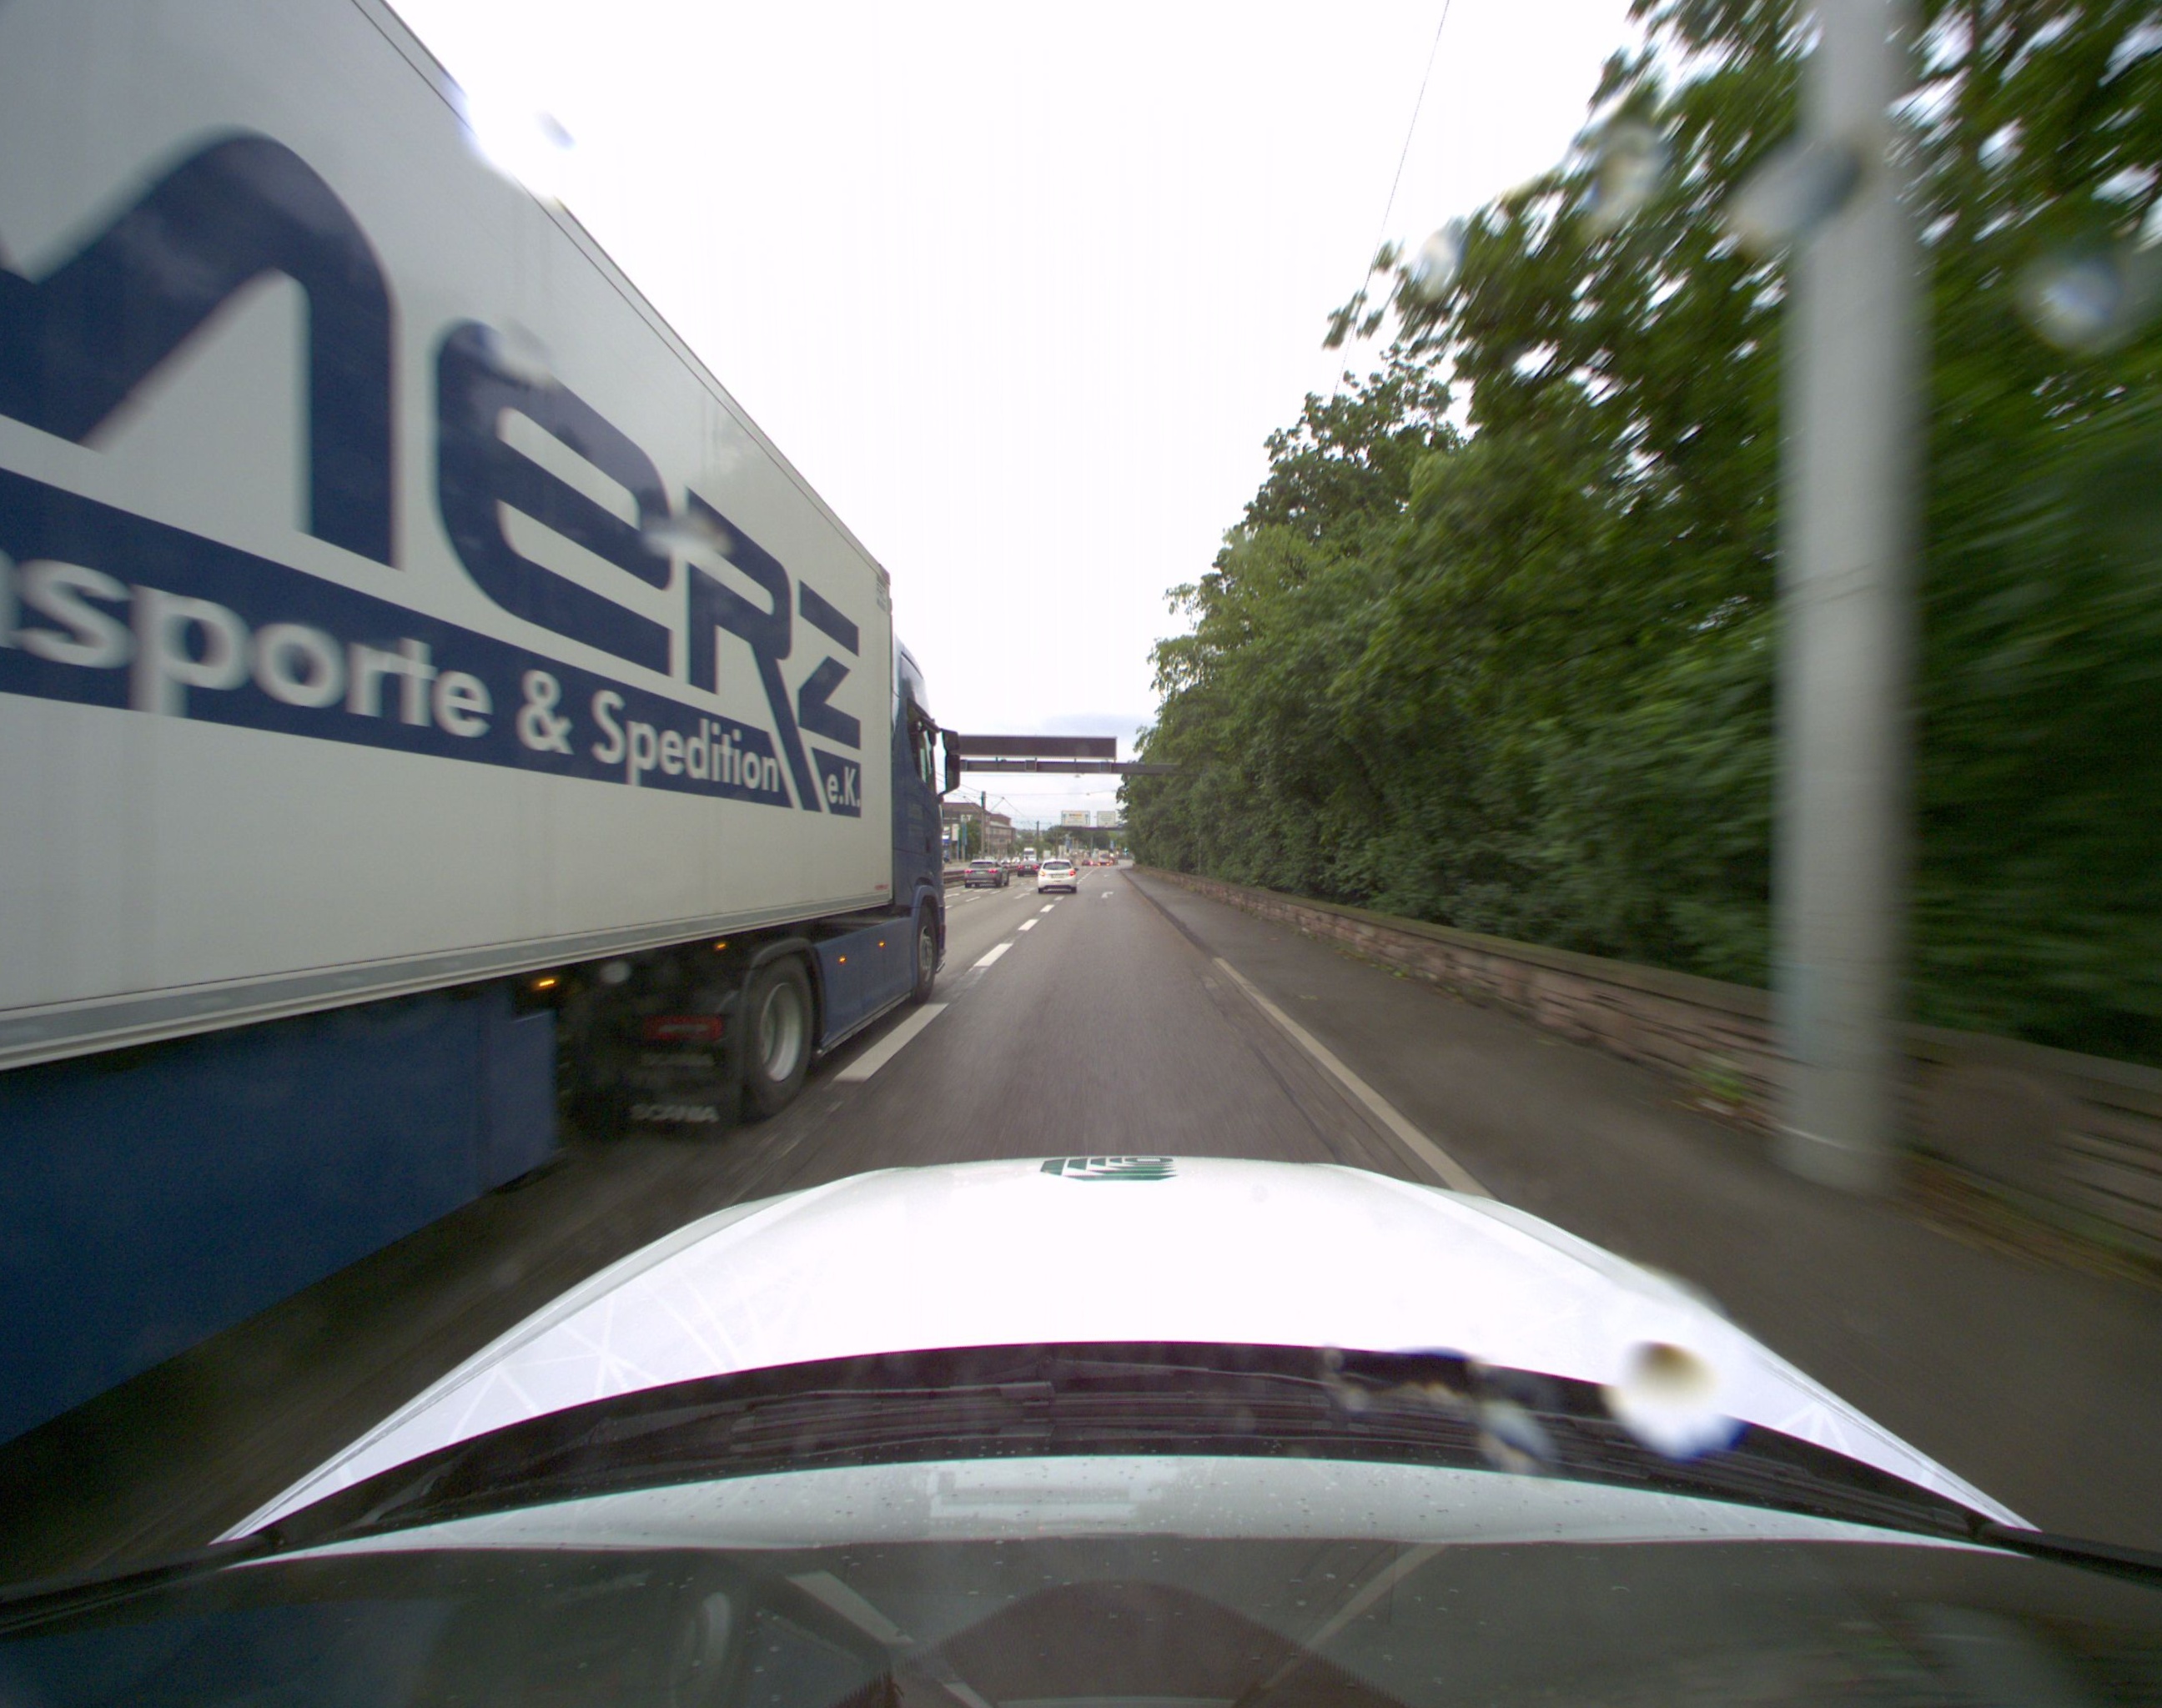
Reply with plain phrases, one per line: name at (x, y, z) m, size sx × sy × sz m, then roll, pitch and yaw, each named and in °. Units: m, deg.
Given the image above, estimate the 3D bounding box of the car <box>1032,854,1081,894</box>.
car at (-1.037, 0.854, 36.531) m, size 1.949 × 1.487 × 4.001 m, roll 2°, pitch 2°, yaw 0°

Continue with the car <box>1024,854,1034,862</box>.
car at (-13.959, 1.040, 218.876) m, size 1.986 × 2.014 × 4.000 m, roll 2°, pitch -3°, yaw 2°

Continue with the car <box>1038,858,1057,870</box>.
car at (-4.465, 1.296, 108.783) m, size 1.983 × 1.576 × 4.007 m, roll -1°, pitch -1°, yaw 6°

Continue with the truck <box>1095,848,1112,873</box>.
truck at (5.594, 1.608, 200.299) m, size 3.449 × 5.402 × 12.061 m, roll 2°, pitch -3°, yaw 4°

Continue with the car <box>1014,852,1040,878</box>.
car at (-4.370, 0.891, 66.626) m, size 1.714 × 1.891 × 3.539 m, roll 1°, pitch 3°, yaw 3°

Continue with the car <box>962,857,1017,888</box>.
car at (-4.791, 0.955, 43.258) m, size 1.809 × 1.565 × 4.103 m, roll -1°, pitch -1°, yaw 10°

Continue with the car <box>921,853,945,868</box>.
car at (-17.756, 0.789, 97.978) m, size 1.986 × 1.662 × 4.001 m, roll 2°, pitch -1°, yaw 2°

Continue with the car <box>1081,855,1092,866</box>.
car at (1.174, 1.389, 169.877) m, size 1.986 × 2.014 × 4.000 m, roll 2°, pitch -3°, yaw 2°

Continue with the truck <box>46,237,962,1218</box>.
truck at (-2.988, -0.542, 6.891) m, size 2.752 × 4.197 × 6.786 m, roll 0°, pitch 0°, yaw 2°

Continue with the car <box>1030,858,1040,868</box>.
car at (-10.753, 2.155, 190.813) m, size 1.986 × 2.014 × 4.000 m, roll 2°, pitch -3°, yaw 2°
